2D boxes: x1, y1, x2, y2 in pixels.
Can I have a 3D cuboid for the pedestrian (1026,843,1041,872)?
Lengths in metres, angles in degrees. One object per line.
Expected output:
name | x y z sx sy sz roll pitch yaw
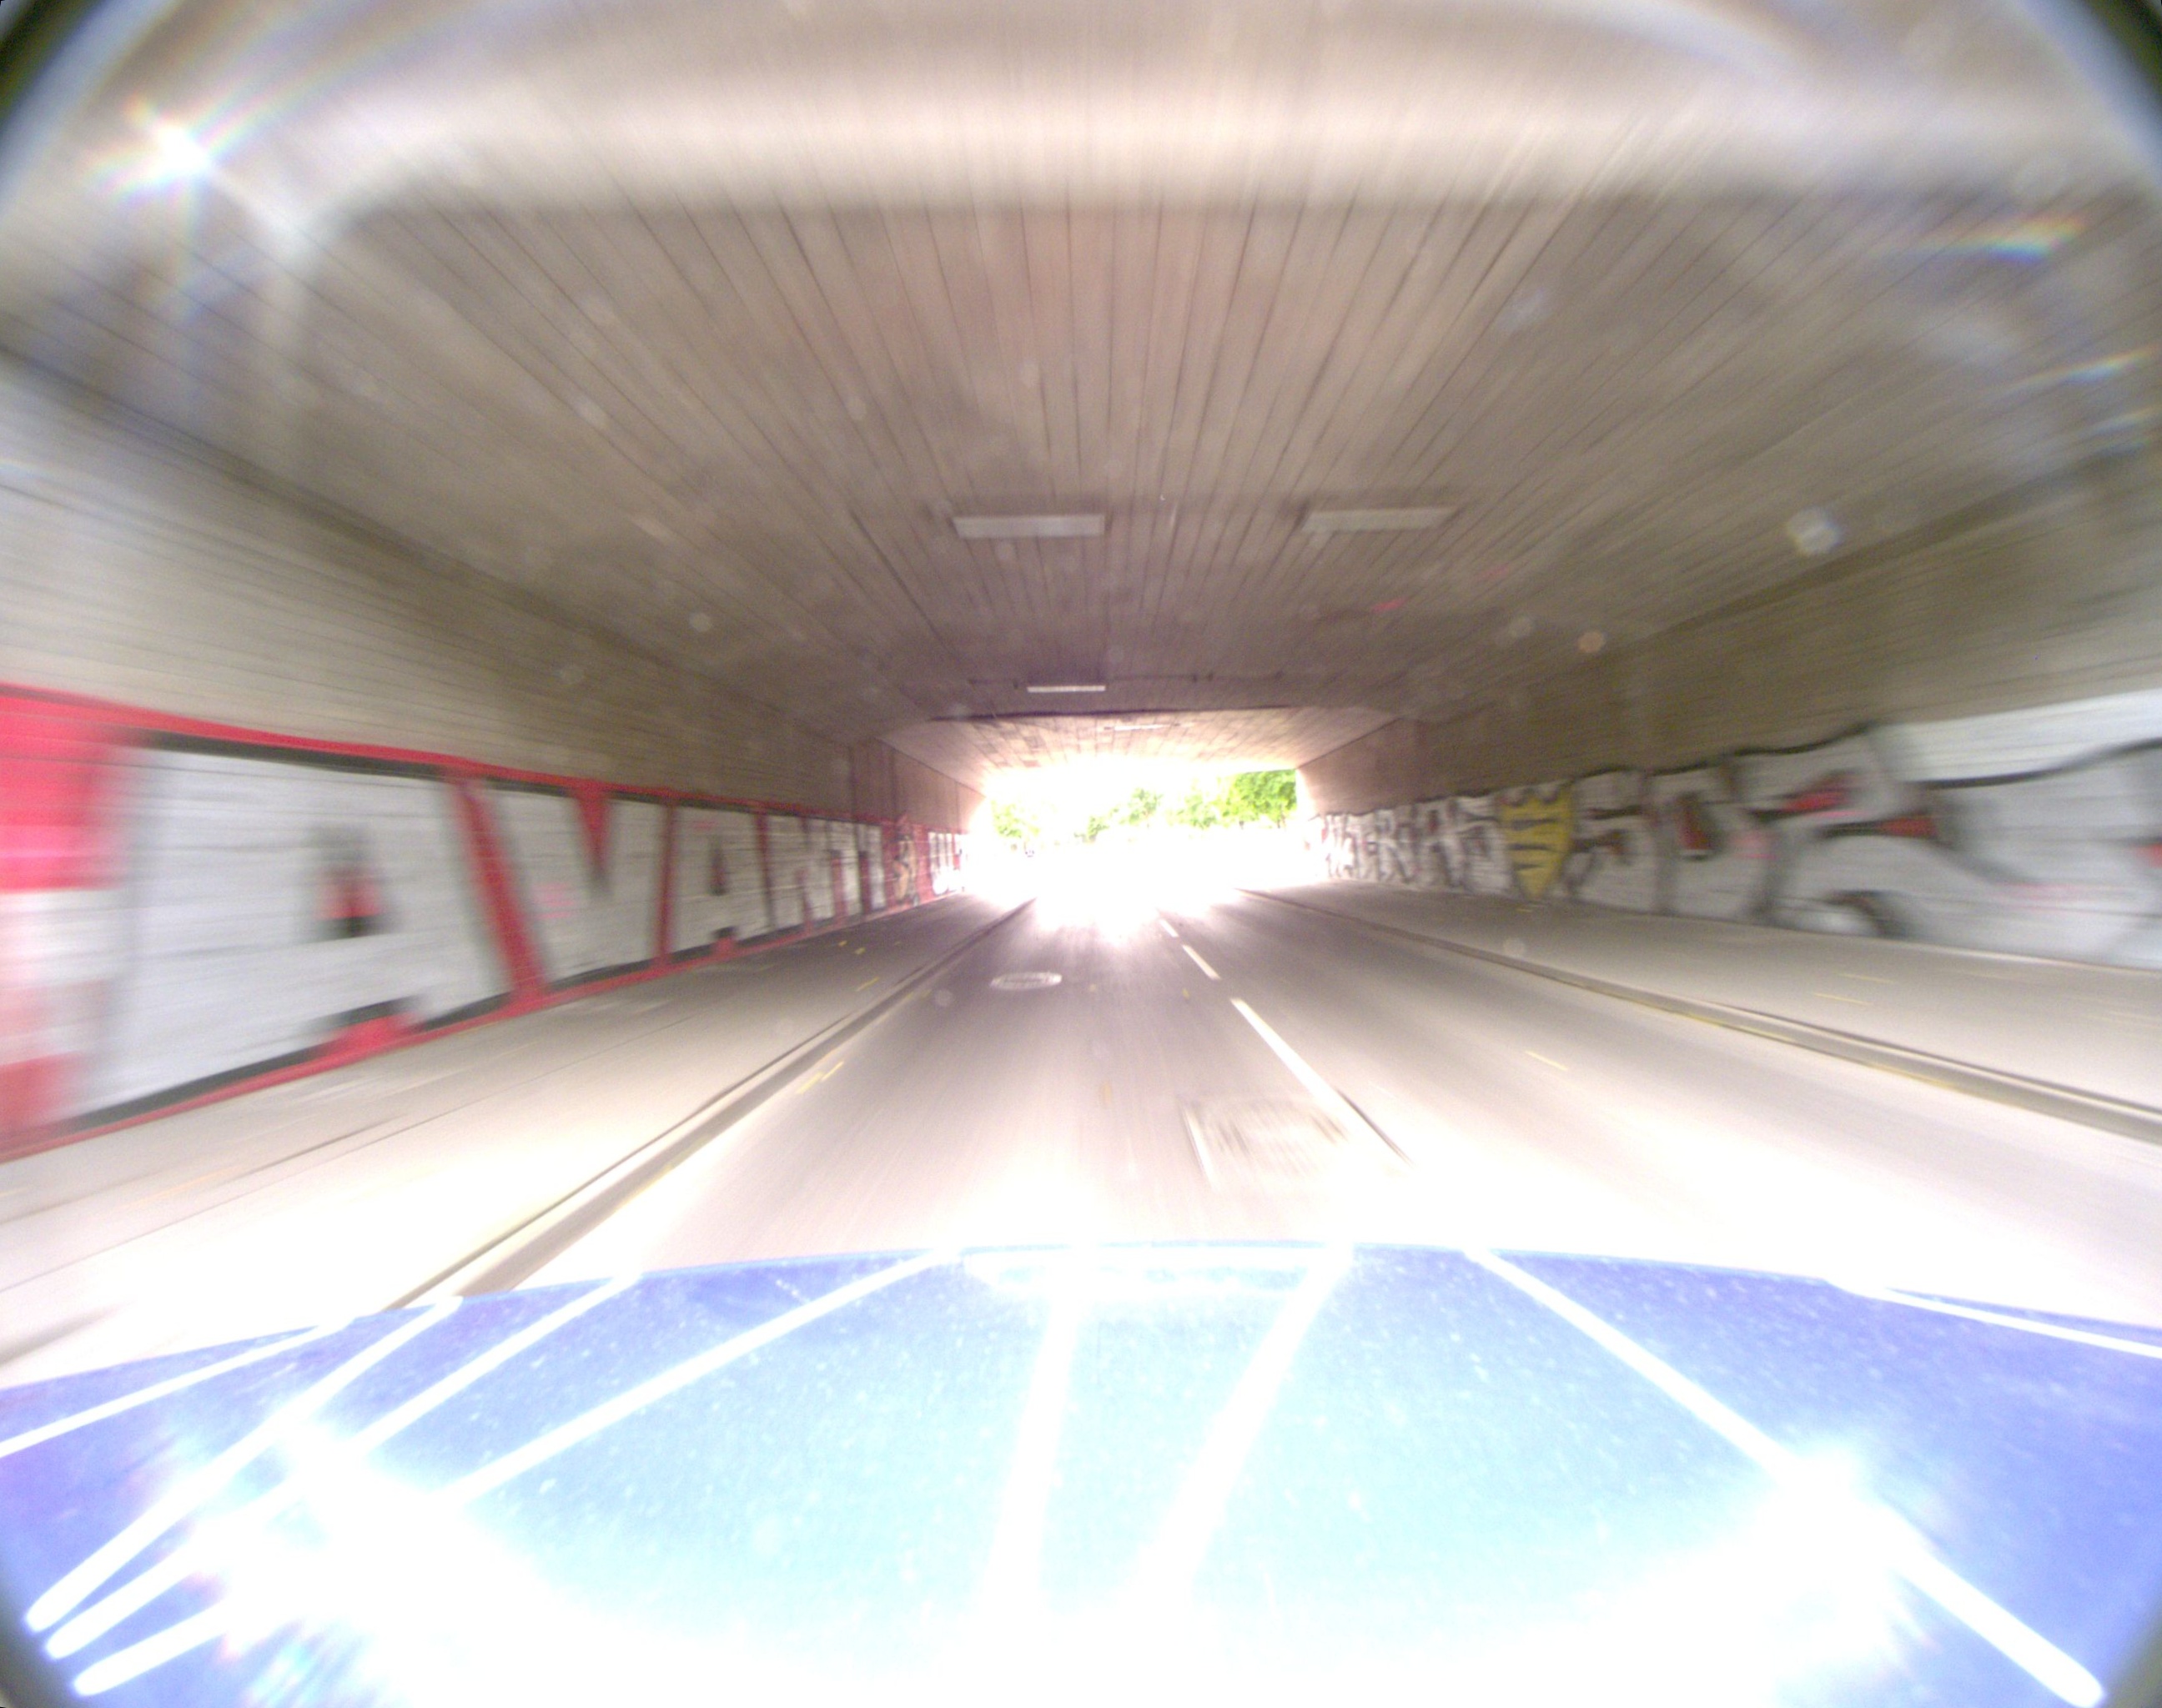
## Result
pedestrian | -3.059 0.200 48.817 0.822 1.869 1.179 -1 1 -8
